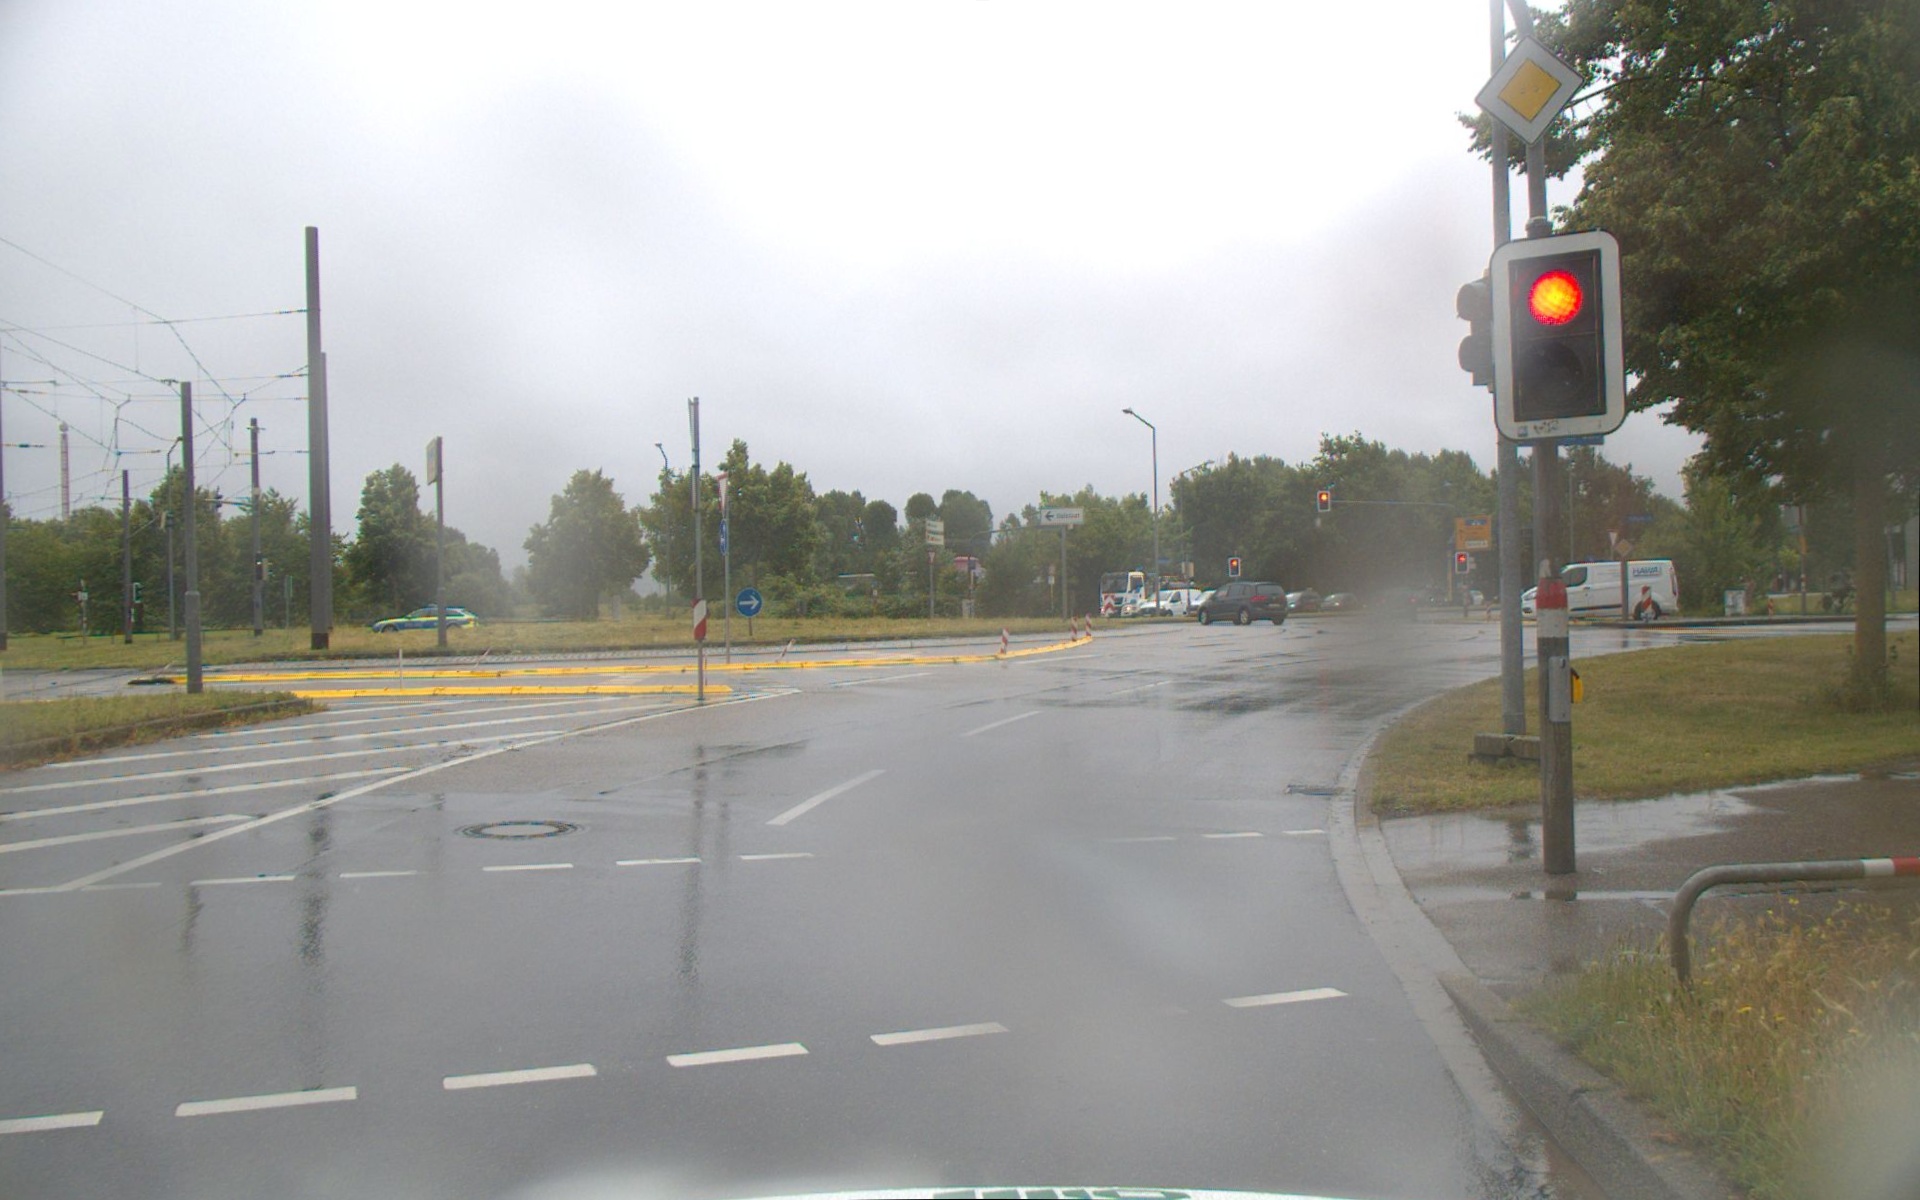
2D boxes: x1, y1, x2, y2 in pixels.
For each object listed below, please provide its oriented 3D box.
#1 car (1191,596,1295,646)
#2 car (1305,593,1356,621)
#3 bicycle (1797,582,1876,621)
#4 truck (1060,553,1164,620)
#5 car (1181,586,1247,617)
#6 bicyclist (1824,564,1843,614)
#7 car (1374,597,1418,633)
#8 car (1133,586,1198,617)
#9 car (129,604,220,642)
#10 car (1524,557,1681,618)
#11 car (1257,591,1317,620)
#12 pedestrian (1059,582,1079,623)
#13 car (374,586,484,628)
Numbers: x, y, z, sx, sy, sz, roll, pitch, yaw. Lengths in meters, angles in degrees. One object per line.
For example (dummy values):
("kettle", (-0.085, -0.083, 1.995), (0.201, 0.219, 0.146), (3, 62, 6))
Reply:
("car", (11.108, 0.817, 65.256), (1.965, 1.884, 4.746), (1, -1, -20))
("car", (24.178, 0.471, 107.738), (1.767, 1.691, 3.983), (0, -1, 37))
("bicycle", (31.168, 0.046, 58.830), (2.455, 1.337, 0.570), (1, -1, 30))
("truck", (6.918, -0.546, 74.230), (2.411, 2.733, 8.058), (1, -1, 22))
("car", (14.578, 0.111, 94.817), (1.769, 1.691, 4.386), (0, -1, 40))
("bicyclist", (31.079, -0.388, 58.863), (0.578, 1.772, 0.495), (0, -1, 30))
("car", (18.791, 0.618, 71.416), (1.583, 1.479, 3.991), (-1, 0, 11))
("car", (11.984, 0.080, 96.248), (1.769, 1.691, 4.112), (0, -1, 40))
("car", (-40.220, 1.194, 84.794), (1.644, 1.848, 3.994), (1, -1, 28))
("car", (20.823, -0.414, 53.811), (4.661, 1.884, 2.000), (1, -1, 19))
("car", (20.333, 0.327, 102.603), (1.769, 1.691, 4.386), (0, -1, 40))
("pedestrian", (3.574, 0.090, 54.338), (0.445, 1.327, 0.484), (-1, 0, 38))
("car", (-25.182, 0.333, 78.558), (4.673, 1.883, 1.996), (-1, 0, -10))
